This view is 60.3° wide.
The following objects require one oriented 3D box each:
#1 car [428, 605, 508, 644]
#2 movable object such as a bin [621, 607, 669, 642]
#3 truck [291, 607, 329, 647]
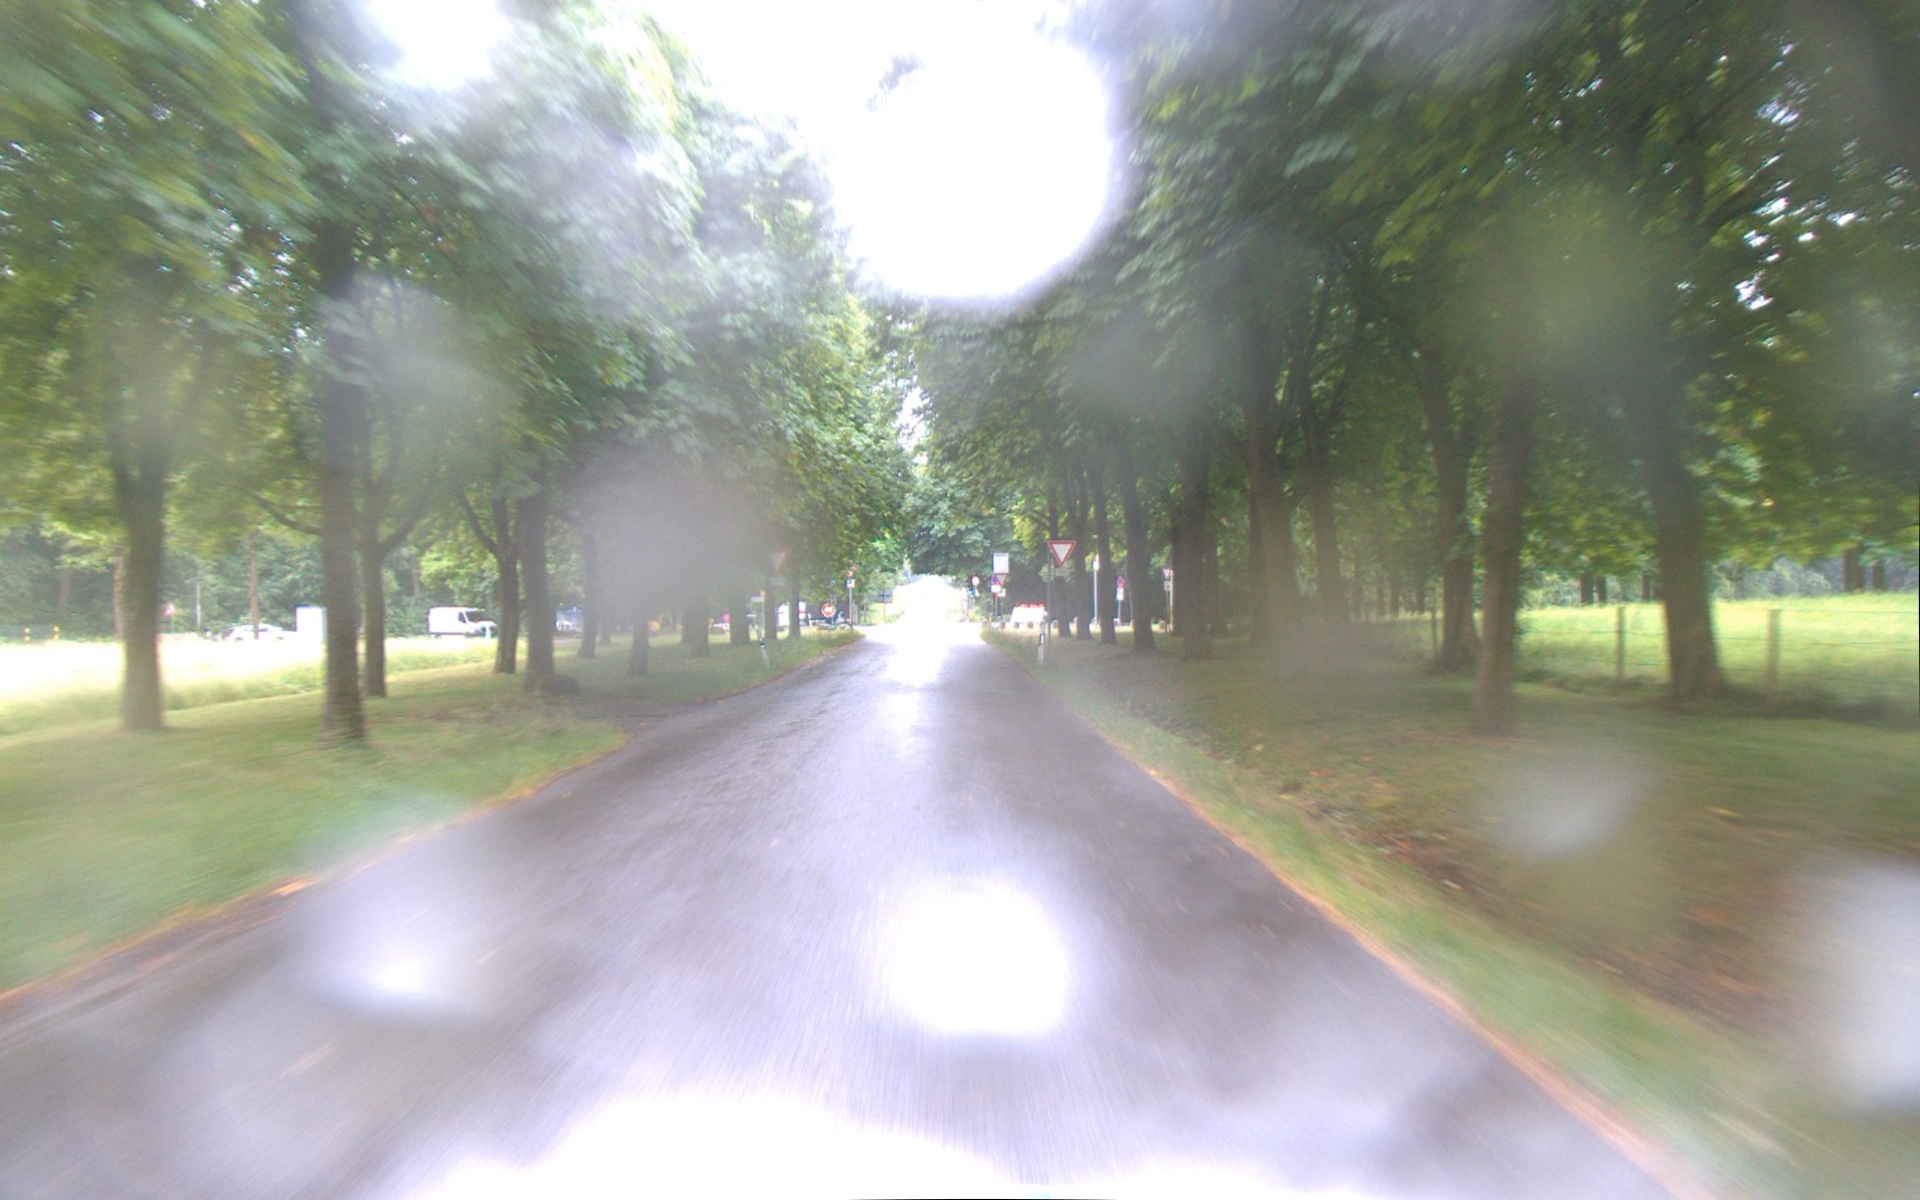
[{"bbox_3d":[-32.950,1.696,110.692,5.874,2.450,2.379,-3,-3,41],"label":"car"},{"bbox_3d":[-31.397,2.432,164.964,4.573,3.352,3.901,-1,-1,-12],"label":"movable object such as a bin"},{"bbox_3d":[-40.878,1.695,104.112,1.839,2.485,3.335,-1,-1,-15],"label":"truck"}]
